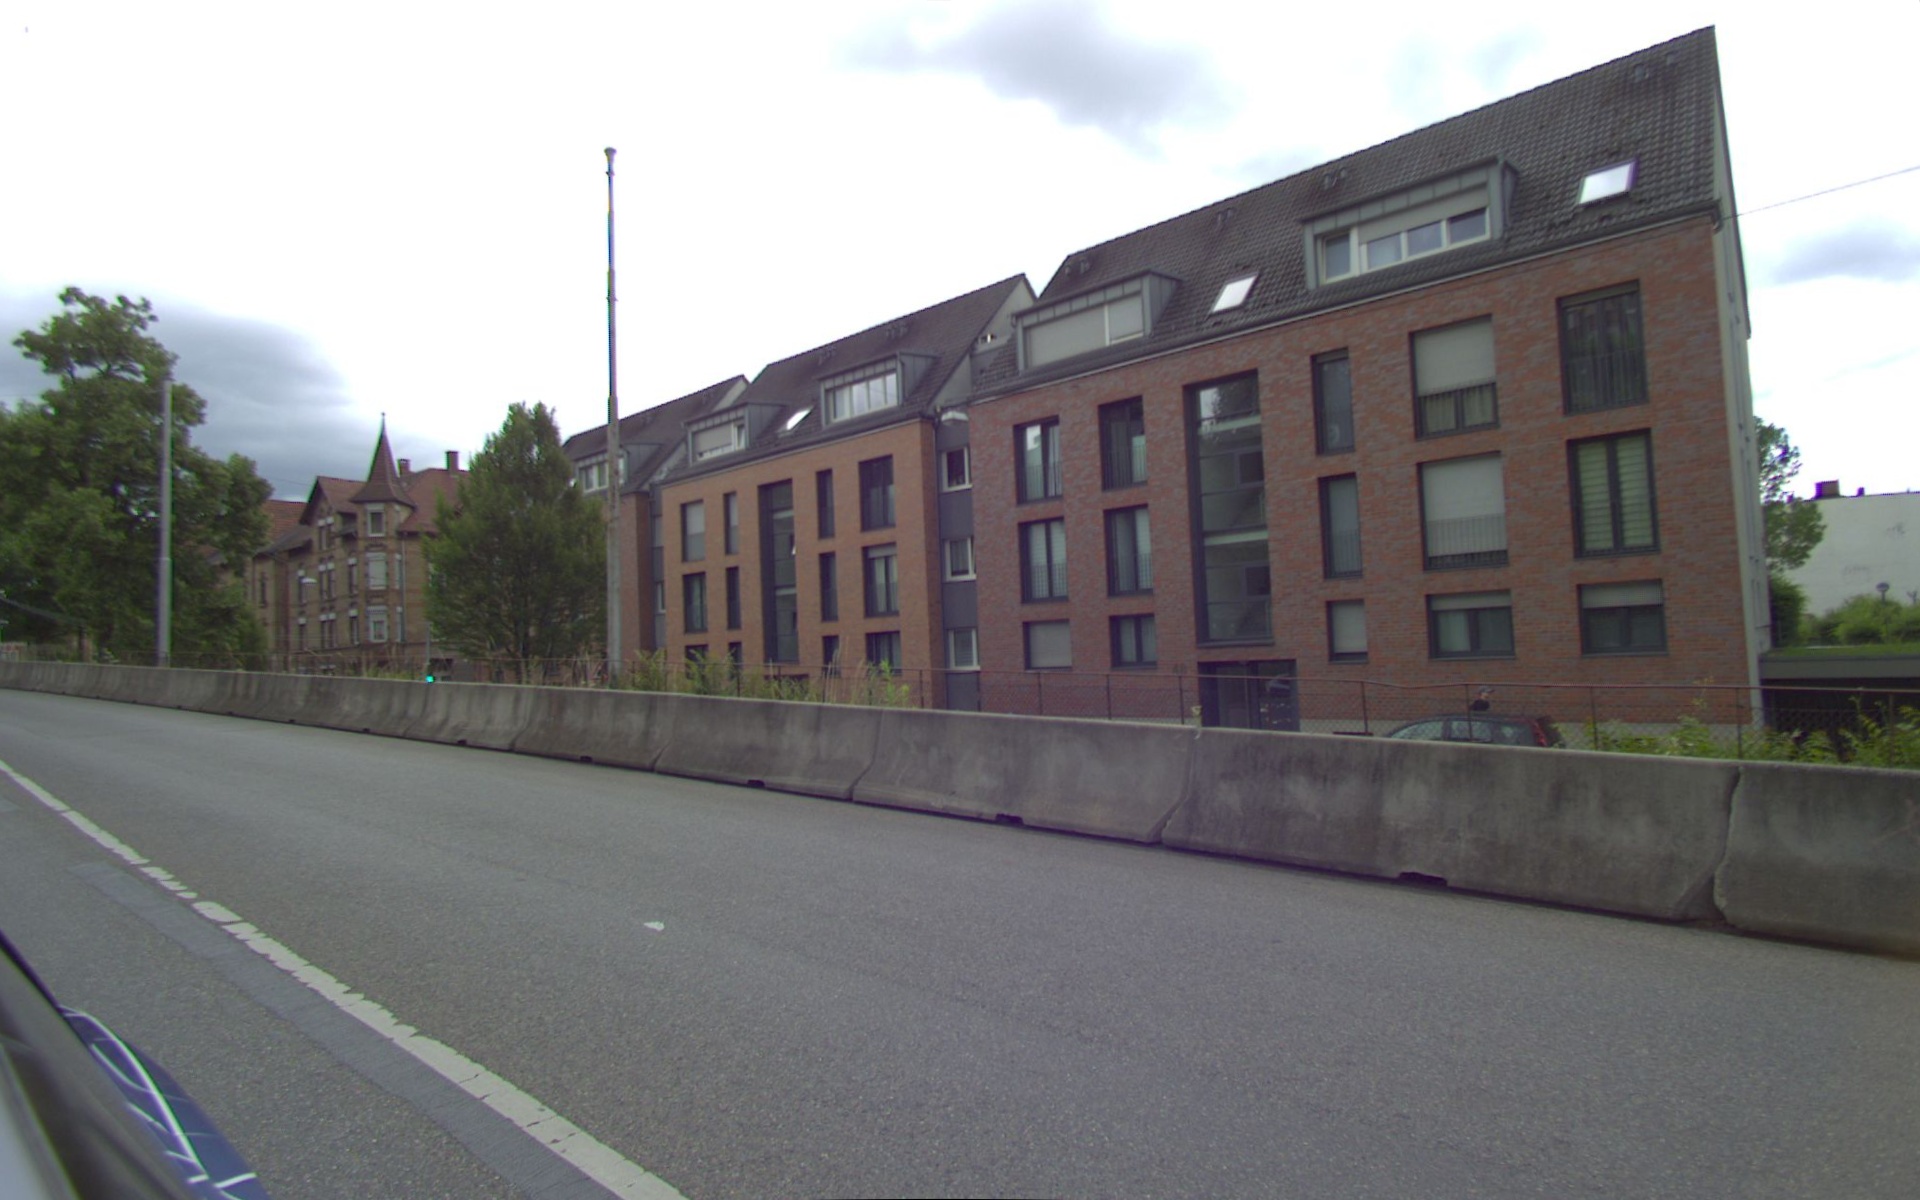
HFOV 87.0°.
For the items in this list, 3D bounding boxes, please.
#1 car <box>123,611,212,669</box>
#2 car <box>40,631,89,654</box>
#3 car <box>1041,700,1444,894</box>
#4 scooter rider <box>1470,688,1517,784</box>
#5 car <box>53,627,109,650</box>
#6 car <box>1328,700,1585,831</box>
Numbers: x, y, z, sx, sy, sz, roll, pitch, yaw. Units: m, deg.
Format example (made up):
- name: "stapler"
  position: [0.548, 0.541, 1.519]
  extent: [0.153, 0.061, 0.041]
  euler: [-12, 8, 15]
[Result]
- name: "car"
  position: [-38.809, 1.870, 49.512]
  extent: [5.735, 2.601, 2.531]
  euler: [-1, 0, 43]
- name: "car"
  position: [-61.672, 2.905, 69.687]
  extent: [3.997, 1.564, 1.973]
  euler: [-2, -2, 40]
- name: "car"
  position: [2.990, 2.001, 11.184]
  extent: [3.995, 1.525, 1.519]
  euler: [-2, -1, 39]
- name: "scooter rider"
  position: [10.045, 2.544, 19.052]
  extent: [0.577, 1.718, 0.482]
  euler: [-5, -2, 41]
- name: "car"
  position: [-53.837, 2.342, 61.994]
  extent: [3.997, 1.364, 1.973]
  euler: [-2, -3, 40]
- name: "car"
  position: [8.759, 2.828, 18.011]
  extent: [3.765, 1.815, 1.696]
  euler: [-3, -1, 41]
